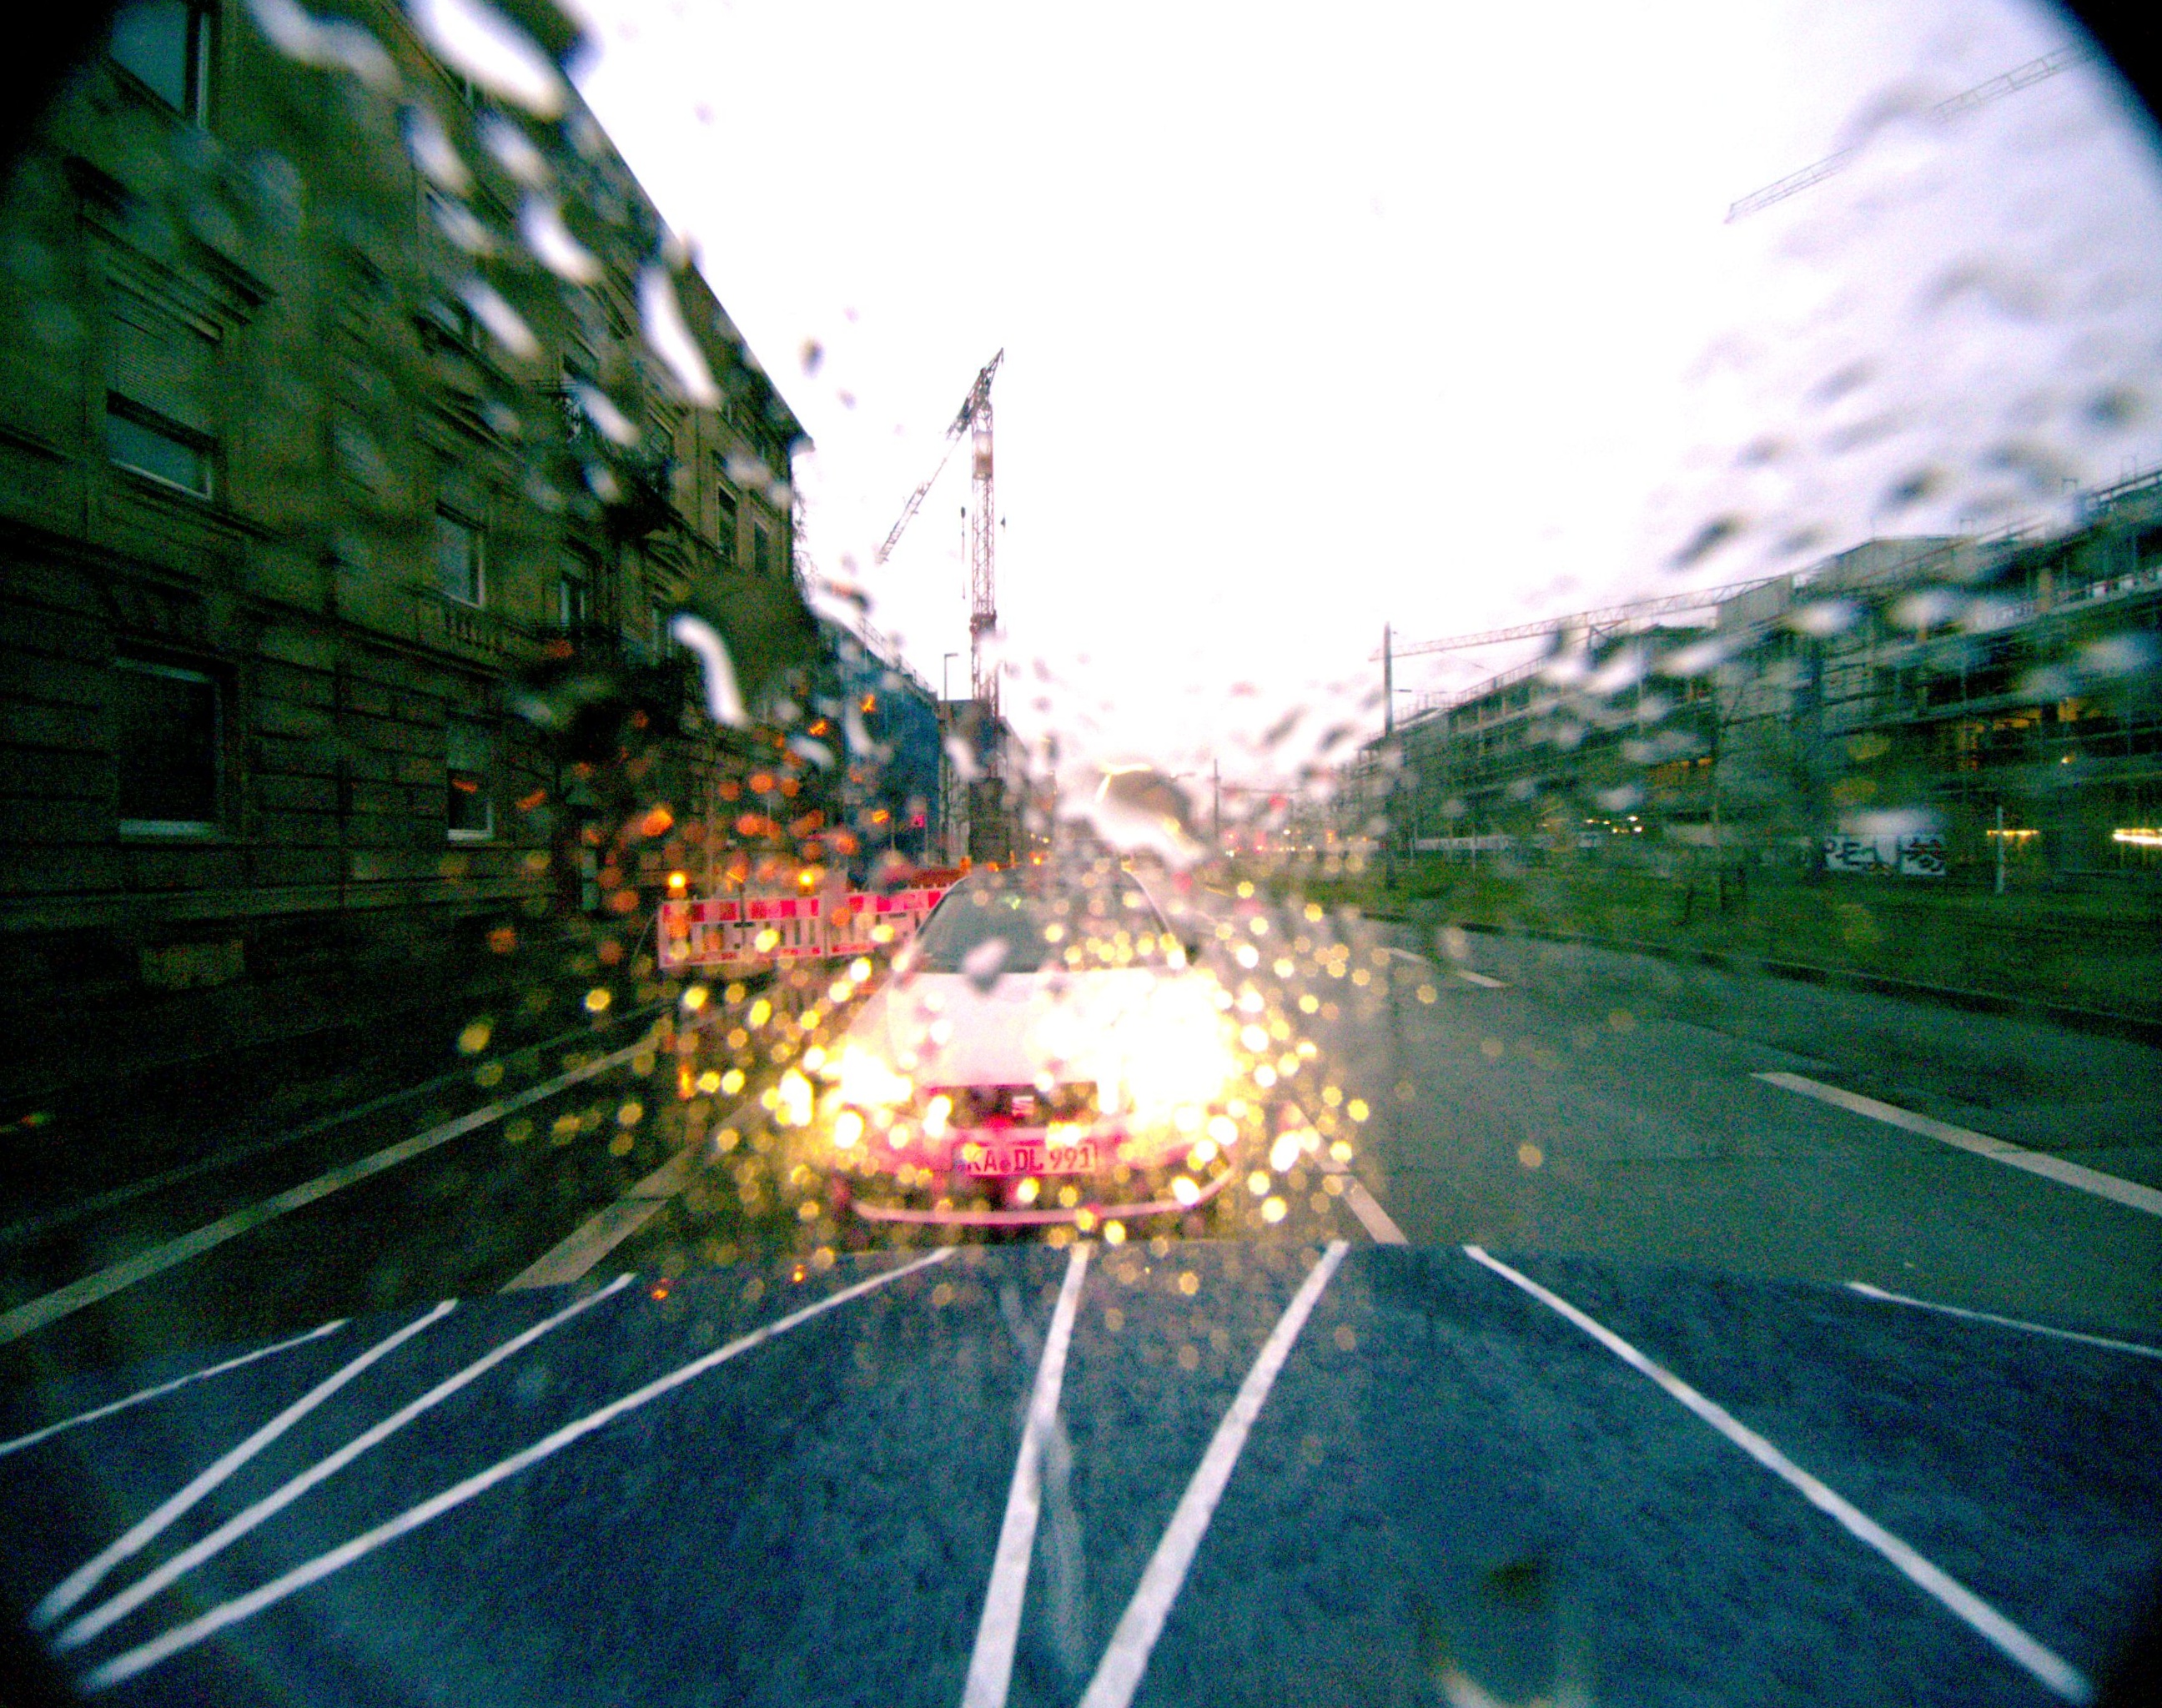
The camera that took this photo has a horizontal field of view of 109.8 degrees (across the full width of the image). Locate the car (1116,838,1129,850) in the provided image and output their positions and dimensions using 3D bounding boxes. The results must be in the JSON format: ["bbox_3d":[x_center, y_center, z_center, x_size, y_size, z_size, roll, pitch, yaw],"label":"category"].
[{"bbox_3d":[5.903,-1.408,107.026,1.768,1.614,3.900,-3,1,4],"label":"car"}]

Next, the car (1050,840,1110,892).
[{"bbox_3d":[-0.040,0.328,25.191,1.769,1.504,3.899,-3,1,0],"label":"car"}]

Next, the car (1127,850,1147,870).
[{"bbox_3d":[5.123,0.507,69.731,1.768,1.614,3.900,-3,1,4],"label":"car"}]

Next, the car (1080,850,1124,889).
[{"bbox_3d":[0.893,0.635,34.184,1.769,1.504,3.899,-3,1,0],"label":"car"}]

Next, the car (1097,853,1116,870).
[{"bbox_3d":[2.573,0.741,76.019,1.768,1.504,3.900,-3,1,4],"label":"car"}]

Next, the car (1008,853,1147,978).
[{"bbox_3d":[-0.056,0.812,12.003,1.769,1.504,3.899,-3,1,0],"label":"car"}]

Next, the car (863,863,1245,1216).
[{"bbox_3d":[-0.131,0.923,5.611,1.769,1.504,3.899,-3,1,0],"label":"car"}]

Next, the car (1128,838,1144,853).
[{"bbox_3d":[6.301,-1.016,87.334,1.768,1.614,3.900,-3,1,4],"label":"car"}]

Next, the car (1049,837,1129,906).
[{"bbox_3d":[0.171,0.364,19.302,1.769,1.504,3.899,-3,1,0],"label":"car"}]
